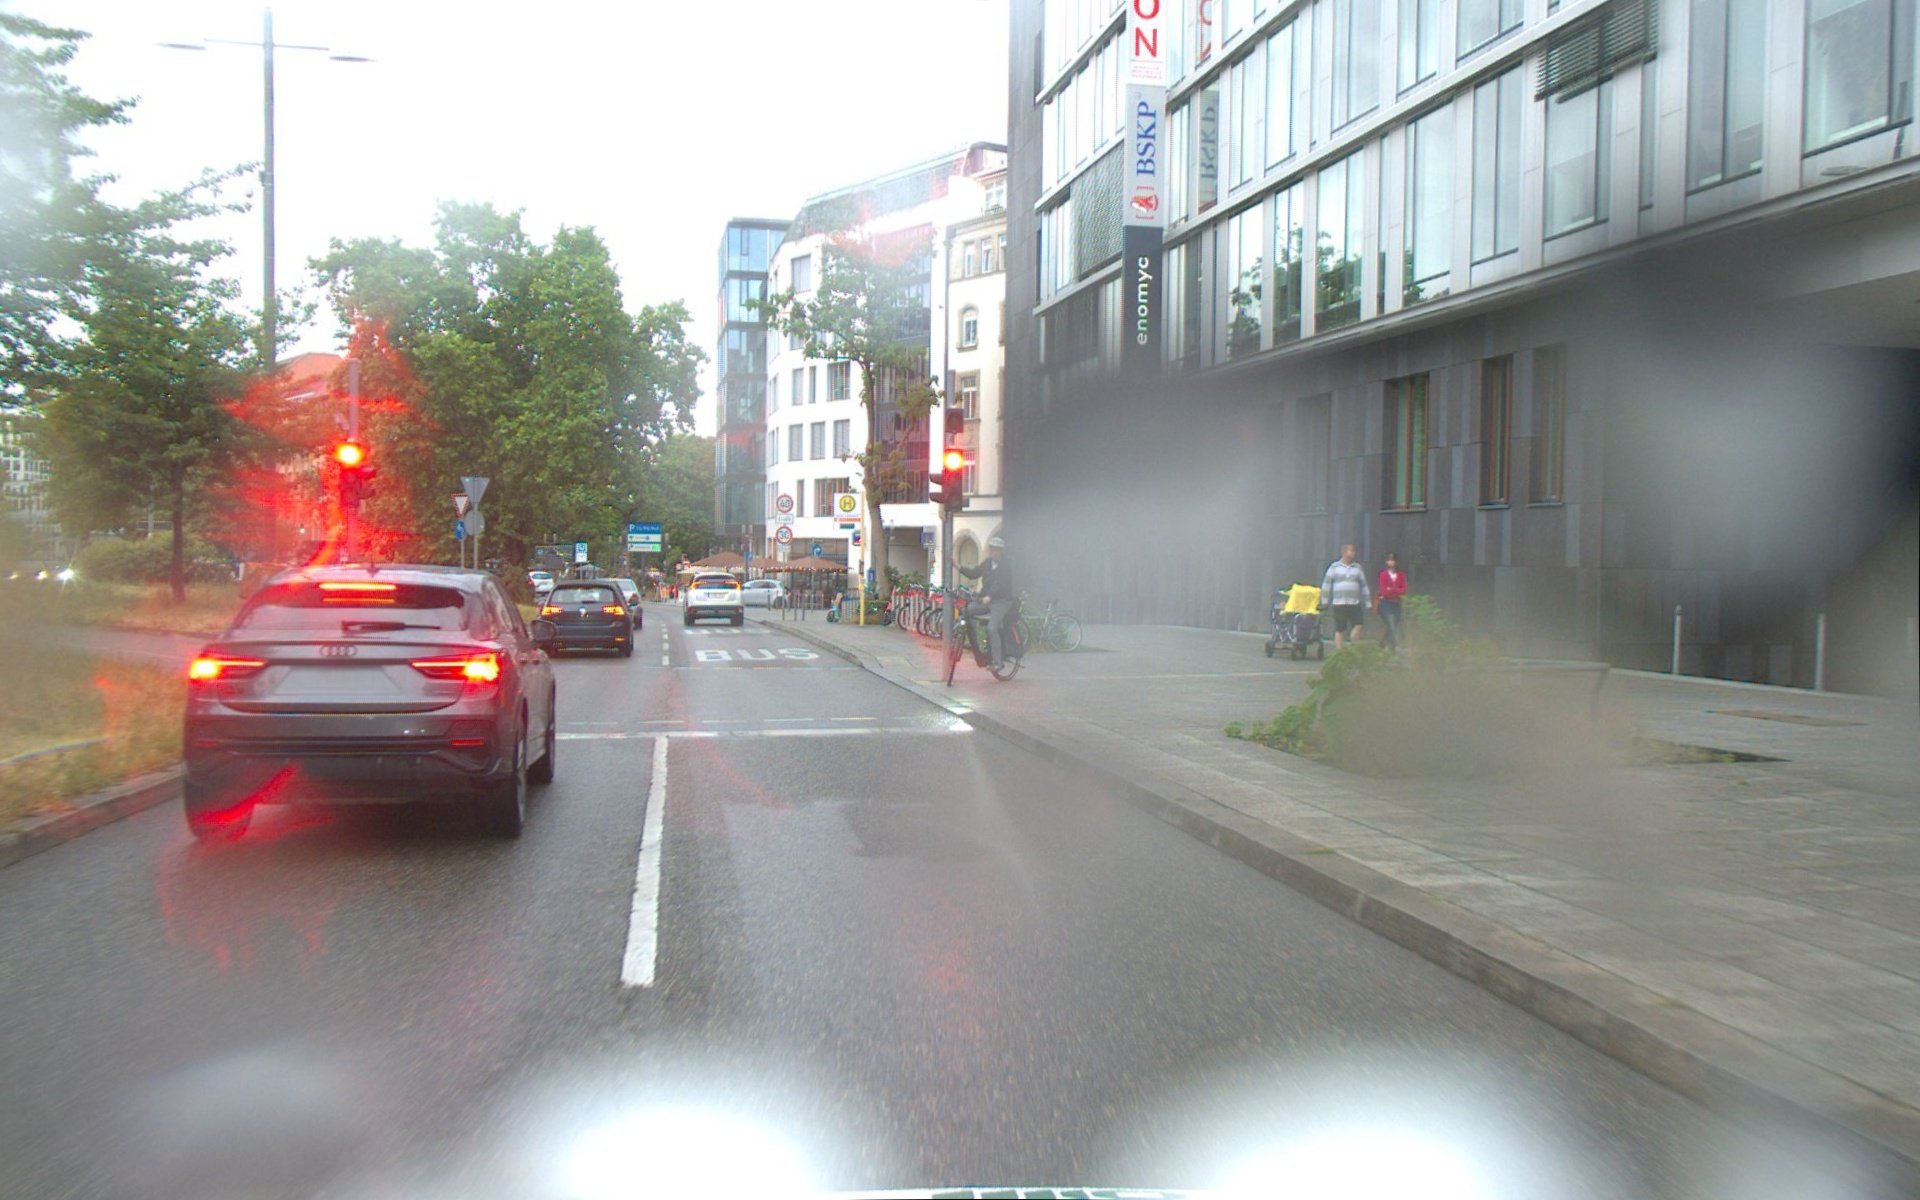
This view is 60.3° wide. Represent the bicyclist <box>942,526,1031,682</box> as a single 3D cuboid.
[{"bbox_3d":[0.377,0.053,23.090,0.748,2.119,1.080,0,0,39],"label":"bicyclist"}]

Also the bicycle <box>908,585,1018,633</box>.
[{"bbox_3d":[0.064,0.196,38.746,2.491,1.106,0.675,0,0,-12],"label":"bicycle"}]

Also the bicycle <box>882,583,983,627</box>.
[{"bbox_3d":[-0.703,0.122,41.896,2.491,1.106,0.675,0,0,-12],"label":"bicycle"}]

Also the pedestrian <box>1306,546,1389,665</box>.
[{"bbox_3d":[6.161,0.072,26.343,0.884,1.823,1.043,-2,1,-13],"label":"pedestrian"}]

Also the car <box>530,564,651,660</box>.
[{"bbox_3d":[-7.176,0.189,32.517,2.123,1.735,4.542,1,1,-11],"label":"car"}]

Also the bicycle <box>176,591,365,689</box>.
[{"bbox_3d":[-8.987,0.507,21.593,2.017,1.133,1.012,3,0,12],"label":"bicycle"}]

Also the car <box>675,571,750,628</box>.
[{"bbox_3d":[-7.950,-0.055,52.853,2.140,1.730,3.989,1,1,-12],"label":"car"}]

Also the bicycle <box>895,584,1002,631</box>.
[{"bbox_3d":[-0.274,0.165,39.547,2.491,1.106,0.675,0,0,-12],"label":"bicycle"}]

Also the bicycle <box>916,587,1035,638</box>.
[{"bbox_3d":[0.339,0.265,35.677,2.491,1.078,0.675,0,0,-12],"label":"bicycle"}]

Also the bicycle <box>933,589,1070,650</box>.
[{"bbox_3d":[0.778,0.357,31.142,2.491,1.106,0.675,0,0,-12],"label":"bicycle"}]

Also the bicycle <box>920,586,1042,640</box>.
[{"bbox_3d":[0.441,0.273,34.818,2.491,1.106,0.675,0,0,-12],"label":"bicycle"}]

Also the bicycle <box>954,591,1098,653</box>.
[{"bbox_3d":[1.182,0.384,29.708,2.491,1.075,0.675,0,1,-12],"label":"bicycle"}]

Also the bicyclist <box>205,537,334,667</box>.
[{"bbox_3d":[-9.000,0.025,21.597,1.108,1.610,1.016,3,0,12],"label":"bicyclist"}]

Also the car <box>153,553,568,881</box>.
[{"bbox_3d":[-3.546,0.552,10.558,1.815,1.644,4.241,1,1,-11],"label":"car"}]

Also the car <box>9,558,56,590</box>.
[{"bbox_3d":[-47.640,-1.343,85.013,1.782,1.512,3.969,2,0,-25],"label":"car"}]

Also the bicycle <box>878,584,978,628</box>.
[{"bbox_3d":[-0.827,0.144,42.607,2.491,1.106,0.625,0,0,-12],"label":"bicycle"}]

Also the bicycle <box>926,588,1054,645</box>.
[{"bbox_3d":[0.606,0.317,33.163,2.491,1.106,0.675,0,1,-12],"label":"bicycle"}]

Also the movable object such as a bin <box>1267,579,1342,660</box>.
[{"bbox_3d":[5.731,0.305,27.610,0.718,1.286,1.441,-2,1,-10],"label":"movable object such as a bin"}]

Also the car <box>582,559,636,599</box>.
[{"bbox_3d":[-15.192,-0.907,71.410,1.915,1.675,3.981,1,1,-17],"label":"car"}]

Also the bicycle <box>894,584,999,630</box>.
[{"bbox_3d":[-0.333,0.160,40.297,2.491,1.106,0.675,0,0,-12],"label":"bicycle"}]

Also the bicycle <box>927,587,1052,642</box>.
[{"bbox_3d":[0.596,0.287,34.022,2.491,1.106,0.675,0,0,-12],"label":"bicycle"}]

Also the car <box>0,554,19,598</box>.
[{"bbox_3d":[-39.578,-0.976,66.762,1.696,1.757,4.563,1,1,-16],"label":"car"}]

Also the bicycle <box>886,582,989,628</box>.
[{"bbox_3d":[-0.564,0.119,41.162,2.491,1.106,0.675,0,0,-12],"label":"bicycle"}]

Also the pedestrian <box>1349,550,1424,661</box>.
[{"bbox_3d":[6.847,0.075,26.599,0.705,1.719,1.097,-2,1,-12],"label":"pedestrian"}]

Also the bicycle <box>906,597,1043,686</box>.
[{"bbox_3d":[0.223,0.548,22.890,0.748,1.165,2.123,0,0,38],"label":"bicycle"}]

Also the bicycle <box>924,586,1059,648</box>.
[{"bbox_3d":[0.603,0.329,31.929,2.491,1.106,0.675,2,0,-12],"label":"bicycle"}]

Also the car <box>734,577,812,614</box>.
[{"bbox_3d":[-10.062,-0.245,88.865,3.918,1.675,1.994,5,0,-12],"label":"car"}]

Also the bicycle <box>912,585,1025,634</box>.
[{"bbox_3d":[0.196,0.209,37.779,2.491,1.106,0.675,0,0,-12],"label":"bicycle"}]

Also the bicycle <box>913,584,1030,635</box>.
[{"bbox_3d":[0.254,0.198,36.581,2.491,1.106,0.675,0,0,-12],"label":"bicycle"}]

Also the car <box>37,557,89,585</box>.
[{"bbox_3d":[-52.996,-1.701,97.786,1.776,1.512,4.364,2,0,-16],"label":"car"}]

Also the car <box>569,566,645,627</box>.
[{"bbox_3d":[-10.383,-0.130,48.512,1.913,1.675,4.227,1,1,-16],"label":"car"}]
